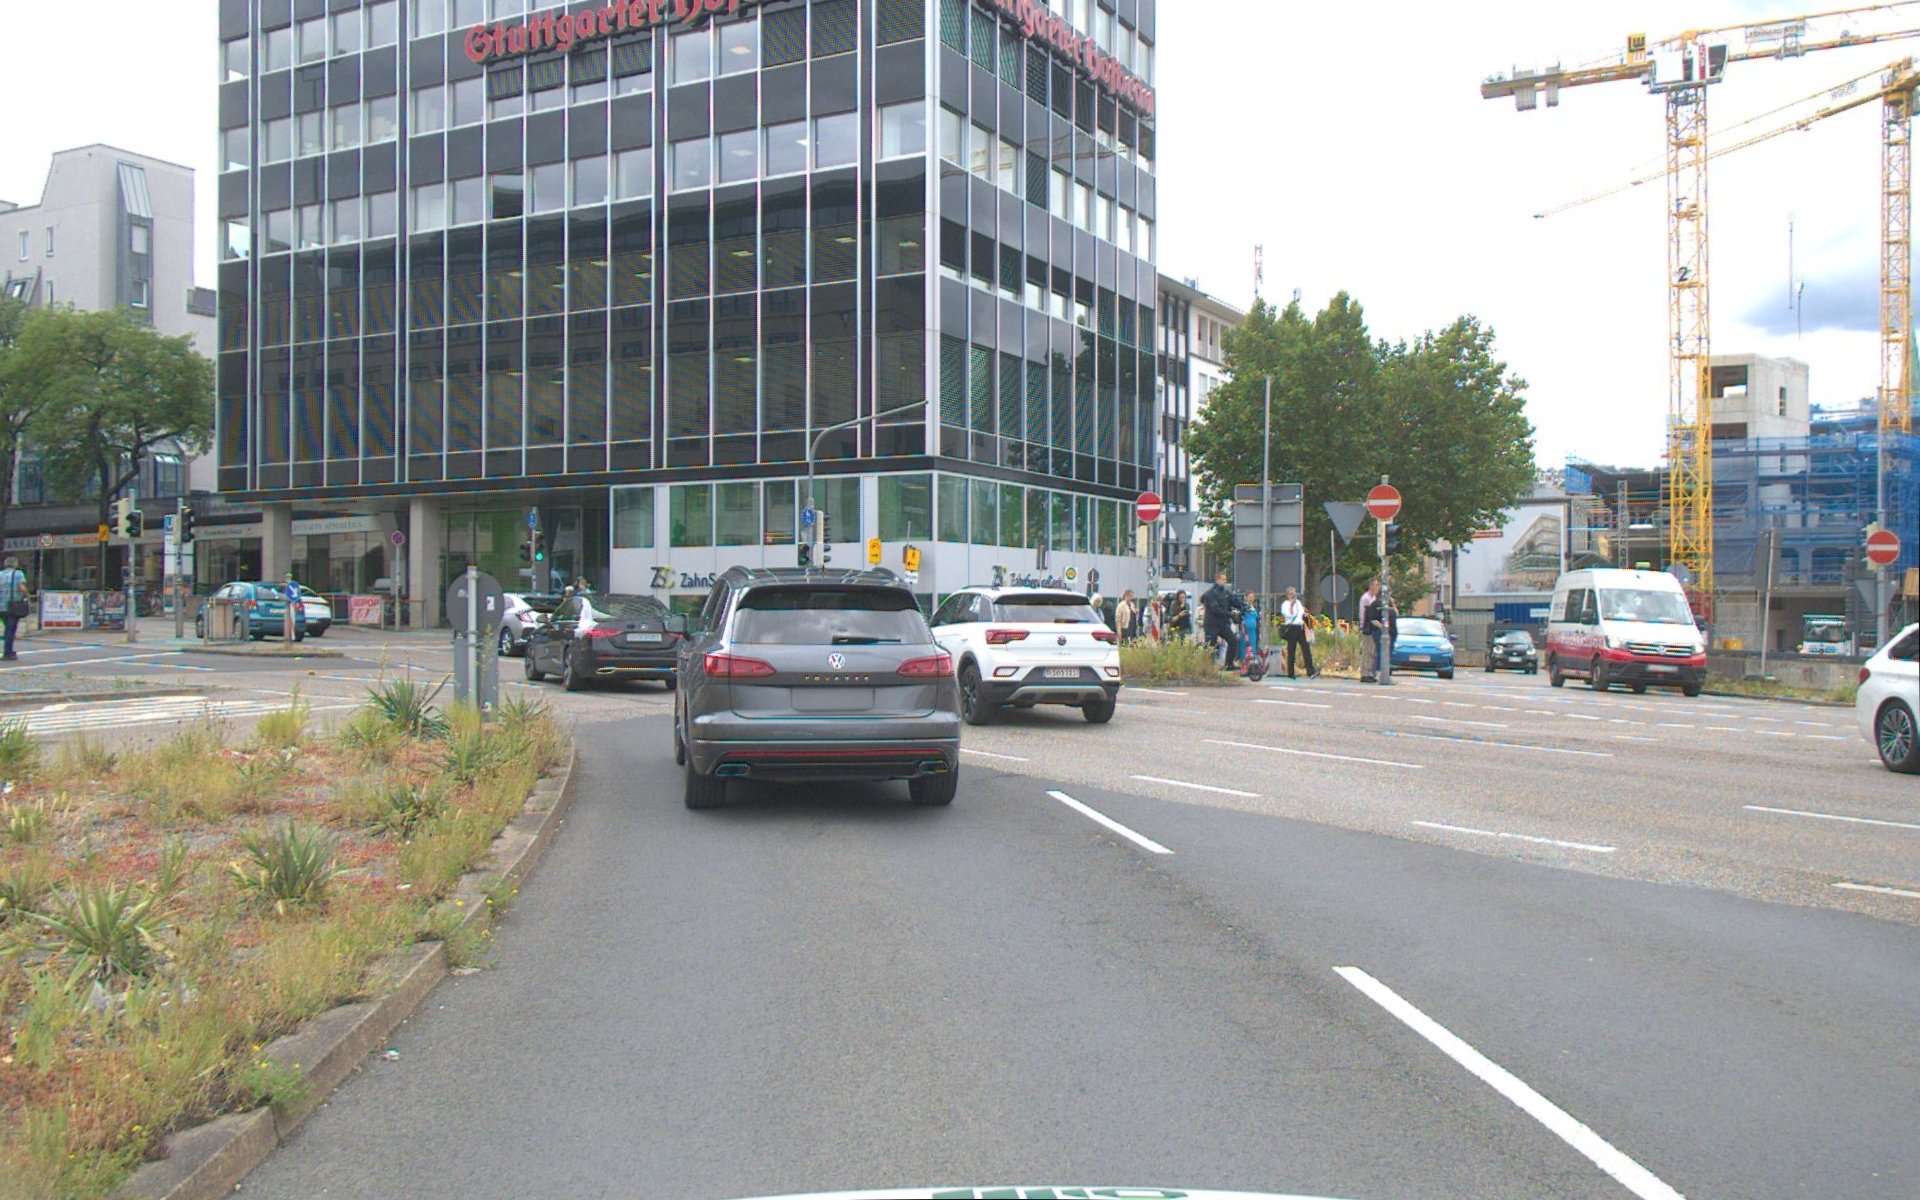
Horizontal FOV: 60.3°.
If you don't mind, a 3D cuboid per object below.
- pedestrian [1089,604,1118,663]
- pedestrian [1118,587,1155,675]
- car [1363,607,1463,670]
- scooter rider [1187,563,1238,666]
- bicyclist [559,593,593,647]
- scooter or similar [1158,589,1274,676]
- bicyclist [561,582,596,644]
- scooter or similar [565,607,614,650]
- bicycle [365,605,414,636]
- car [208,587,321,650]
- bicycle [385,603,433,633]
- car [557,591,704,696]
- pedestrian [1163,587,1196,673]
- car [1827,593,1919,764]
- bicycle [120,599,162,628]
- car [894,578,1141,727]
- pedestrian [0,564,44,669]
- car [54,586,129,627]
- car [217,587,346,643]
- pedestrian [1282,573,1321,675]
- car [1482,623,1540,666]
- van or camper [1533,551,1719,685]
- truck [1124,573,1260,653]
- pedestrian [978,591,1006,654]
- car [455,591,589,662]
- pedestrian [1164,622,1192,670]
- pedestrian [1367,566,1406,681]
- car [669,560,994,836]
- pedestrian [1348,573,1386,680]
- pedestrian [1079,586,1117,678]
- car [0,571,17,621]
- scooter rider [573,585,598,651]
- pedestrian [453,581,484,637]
[{"bbox_3d":[4.244,0.984,48.965,0.585,1.708,0.628,1,0,-41],"label":"pedestrian"},{"bbox_3d":[3.747,0.659,35.183,0.685,1.847,0.670,1,-1,13],"label":"pedestrian"},{"bbox_3d":[11.871,0.965,43.617,1.901,1.508,4.631,2,0,8],"label":"car"},{"bbox_3d":[4.318,0.248,28.219,0.728,1.724,0.766,1,-1,18],"label":"scooter rider"},{"bbox_3d":[-11.160,0.575,48.092,0.826,1.576,0.566,0,0,5],"label":"bicyclist"},{"bbox_3d":[4.374,0.548,28.198,1.842,1.431,0.777,1,-1,18],"label":"scooter or similar"},{"bbox_3d":[-11.760,0.392,51.013,0.796,1.878,0.674,0,0,28],"label":"bicyclist"},{"bbox_3d":[-10.497,0.797,46.919,1.294,1.196,0.592,0,0,-8],"label":"scooter or similar"},{"bbox_3d":[-20.022,0.708,58.070,1.450,1.066,0.715,1,0,13],"label":"bicycle"},{"bbox_3d":[-17.866,0.438,42.428,1.819,1.544,3.716,0,1,-37],"label":"car"},{"bbox_3d":[-19.564,0.635,58.762,1.450,1.066,0.715,1,0,13],"label":"bicycle"},{"bbox_3d":[-5.174,0.620,25.572,1.804,1.420,4.128,2,0,-17],"label":"car"},{"bbox_3d":[4.466,0.601,33.653,0.627,1.725,0.611,1,-1,10],"label":"pedestrian"},{"bbox_3d":[9.598,0.710,13.881,1.953,1.531,5.038,1,-1,-1],"label":"car"},{"bbox_3d":[-32.686,0.527,65.998,1.845,1.152,0.490,1,0,28],"label":"bicycle"},{"bbox_3d":[0.581,0.552,20.110,1.770,1.572,3.915,0,1,-18],"label":"car"},{"bbox_3d":[-16.996,0.289,29.697,0.621,1.821,0.716,2,4,34],"label":"pedestrian"},{"bbox_3d":[-35.564,0.228,67.684,1.850,1.601,3.940,-1,1,-41],"label":"car"},{"bbox_3d":[-19.510,0.406,47.522,3.694,1.544,1.830,0,1,38],"label":"car"},{"bbox_3d":[6.290,0.439,30.518,0.627,1.828,0.611,2,0,10],"label":"pedestrian"},{"bbox_3d":[19.886,1.584,59.784,1.793,1.492,4.002,0,-1,16],"label":"car"},{"bbox_3d":[13.864,0.359,34.864,2.094,2.520,6.166,1,0,7],"label":"van or camper"},{"bbox_3d":[9.740,0.597,68.529,2.297,3.117,8.174,0,-1,33],"label":"truck"},{"bbox_3d":[0.915,0.646,47.212,0.622,1.779,0.591,1,0,17],"label":"pedestrian"},{"bbox_3d":[-10.218,0.586,38.395,1.816,1.457,4.101,2,0,-33],"label":"car"},{"bbox_3d":[8.269,1.736,62.713,0.854,1.777,0.847,0,0,26],"label":"pedestrian"},{"bbox_3d":[7.536,0.414,29.234,0.627,1.989,0.611,1,-1,14],"label":"pedestrian"},{"bbox_3d":[-1.164,0.579,12.644,1.936,1.725,4.212,0,1,-12],"label":"car"},{"bbox_3d":[7.552,0.487,30.688,0.627,1.943,0.611,1,-1,10],"label":"pedestrian"},{"bbox_3d":[2.909,0.673,34.777,0.685,1.895,0.670,1,-1,13],"label":"pedestrian"},{"bbox_3d":[-32.302,-0.132,53.541,3.694,1.594,1.830,0,1,38],"label":"car"},{"bbox_3d":[-10.622,0.502,46.899,0.629,1.840,0.592,0,0,-8],"label":"scooter rider"},{"bbox_3d":[-15.506,0.289,52.172,0.736,1.741,0.526,-2,0,29],"label":"pedestrian"}]
